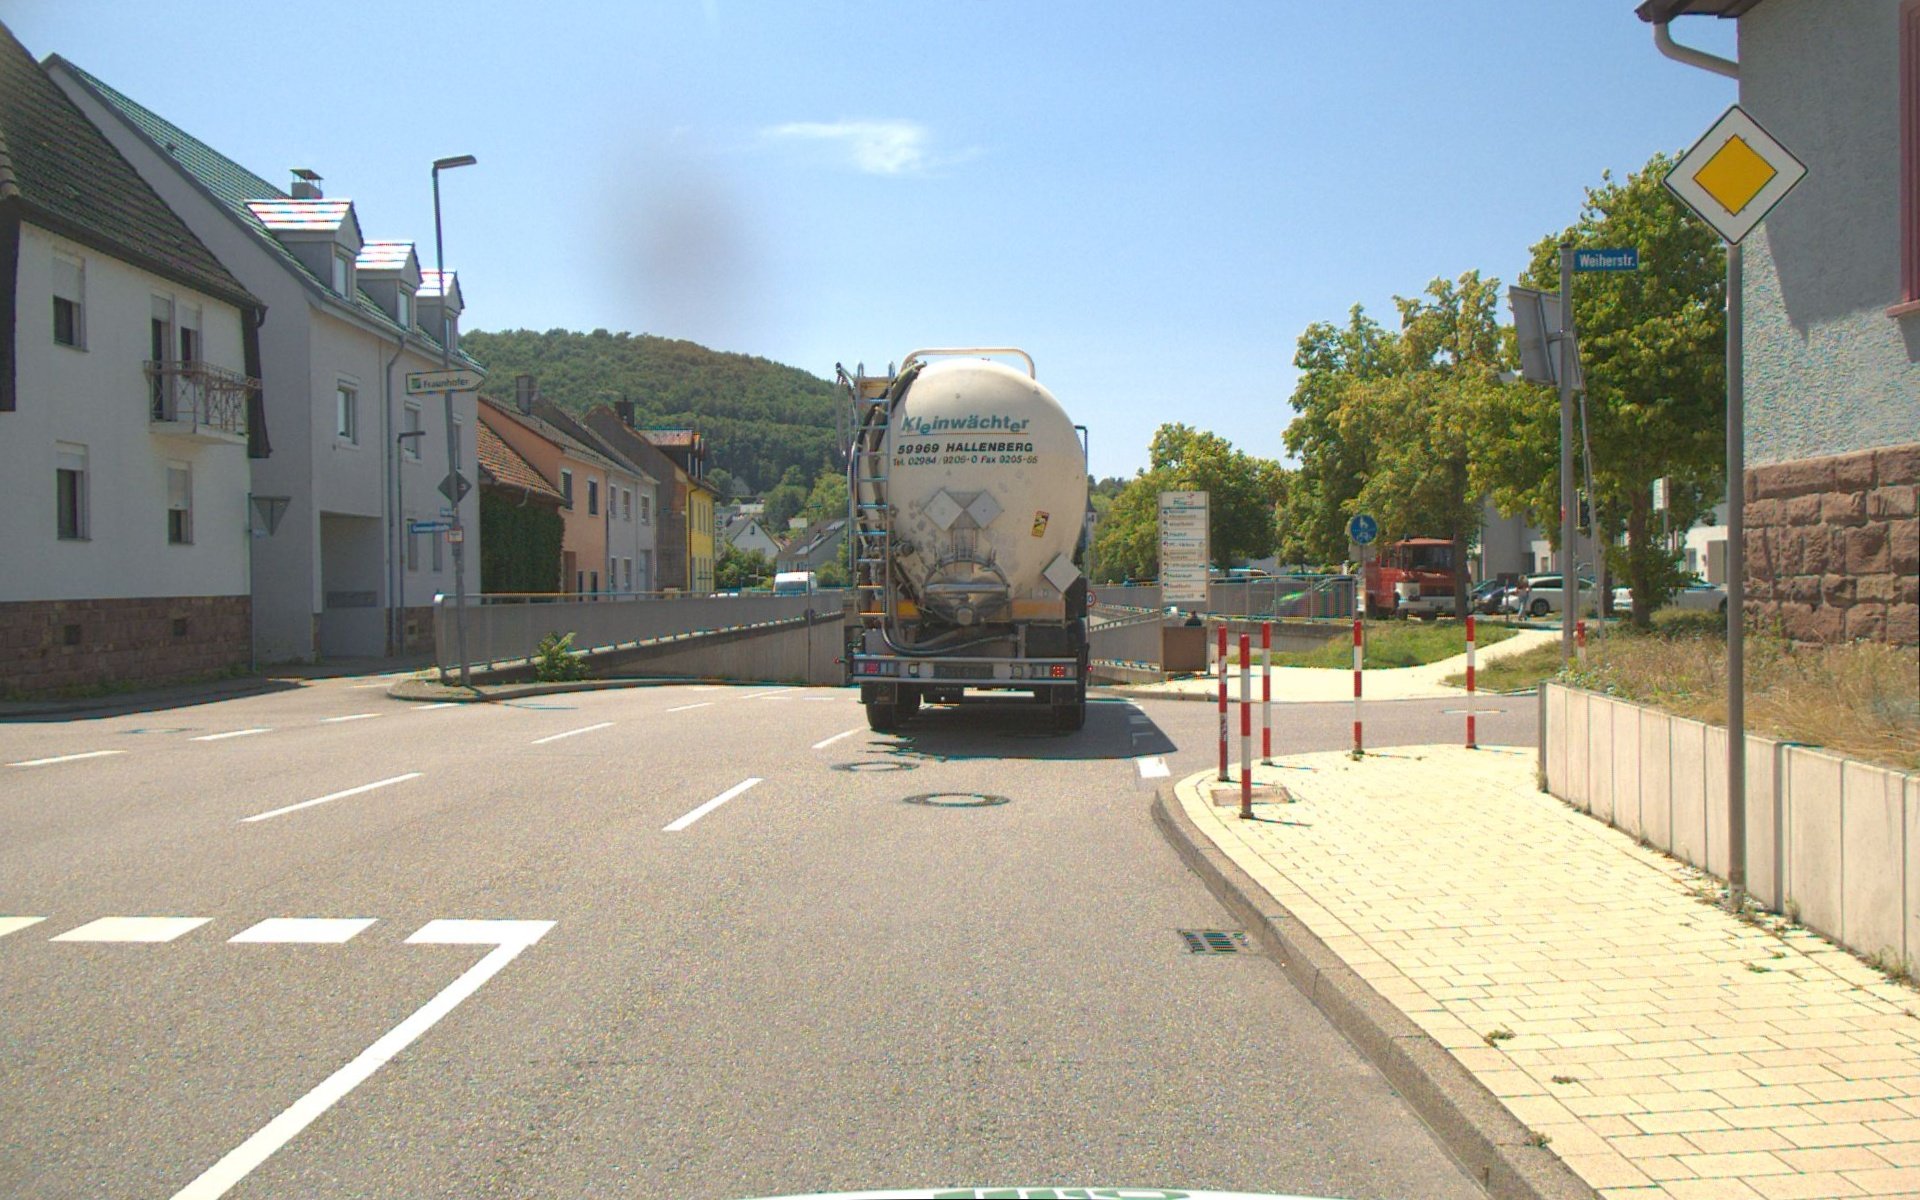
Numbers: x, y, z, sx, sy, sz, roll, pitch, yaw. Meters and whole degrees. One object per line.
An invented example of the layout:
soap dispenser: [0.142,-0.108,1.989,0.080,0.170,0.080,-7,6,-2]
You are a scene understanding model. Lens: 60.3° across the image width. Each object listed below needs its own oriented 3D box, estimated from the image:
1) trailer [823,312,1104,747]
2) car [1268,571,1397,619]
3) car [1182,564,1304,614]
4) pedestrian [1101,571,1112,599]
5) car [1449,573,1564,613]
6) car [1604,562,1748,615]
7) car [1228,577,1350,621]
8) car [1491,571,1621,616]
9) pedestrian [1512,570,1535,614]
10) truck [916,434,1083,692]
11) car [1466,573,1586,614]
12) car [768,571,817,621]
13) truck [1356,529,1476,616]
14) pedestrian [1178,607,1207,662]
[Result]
trailer: [0.397,-0.622,22.441,2.678,4.135,13.317,0,-1,3]
car: [12.297,-0.164,54.758,3.904,1.525,1.749,-1,0,2]
car: [12.281,-0.463,72.080,5.006,2.099,1.989,-1,0,2]
pedestrian: [9.628,-0.983,108.746,0.659,1.811,0.594,-1,-1,2]
car: [23.527,-0.292,71.284,4.315,1.516,1.758,-2,0,1]
car: [23.036,-0.365,53.319,3.856,1.504,1.758,-2,0,1]
car: [11.870,-0.041,59.835,4.117,1.525,1.686,-1,0,2]
car: [22.860,-0.243,63.501,4.315,1.516,1.758,-2,0,1]
pedestrian: [20.002,-0.291,58.692,0.599,1.537,0.742,-3,0,11]
truck: [0.806,-0.571,29.823,2.678,4.136,6.531,0,-1,3]
car: [23.405,-0.264,68.526,4.315,1.516,1.758,-2,0,1]
car: [-9.023,-0.224,89.494,2.023,2.581,5.661,1,0,0]
truck: [13.250,-0.766,48.406,2.088,2.375,5.259,0,0,0]
pedestrian: [7.701,1.146,54.755,0.819,1.813,0.788,-1,-3,1]
